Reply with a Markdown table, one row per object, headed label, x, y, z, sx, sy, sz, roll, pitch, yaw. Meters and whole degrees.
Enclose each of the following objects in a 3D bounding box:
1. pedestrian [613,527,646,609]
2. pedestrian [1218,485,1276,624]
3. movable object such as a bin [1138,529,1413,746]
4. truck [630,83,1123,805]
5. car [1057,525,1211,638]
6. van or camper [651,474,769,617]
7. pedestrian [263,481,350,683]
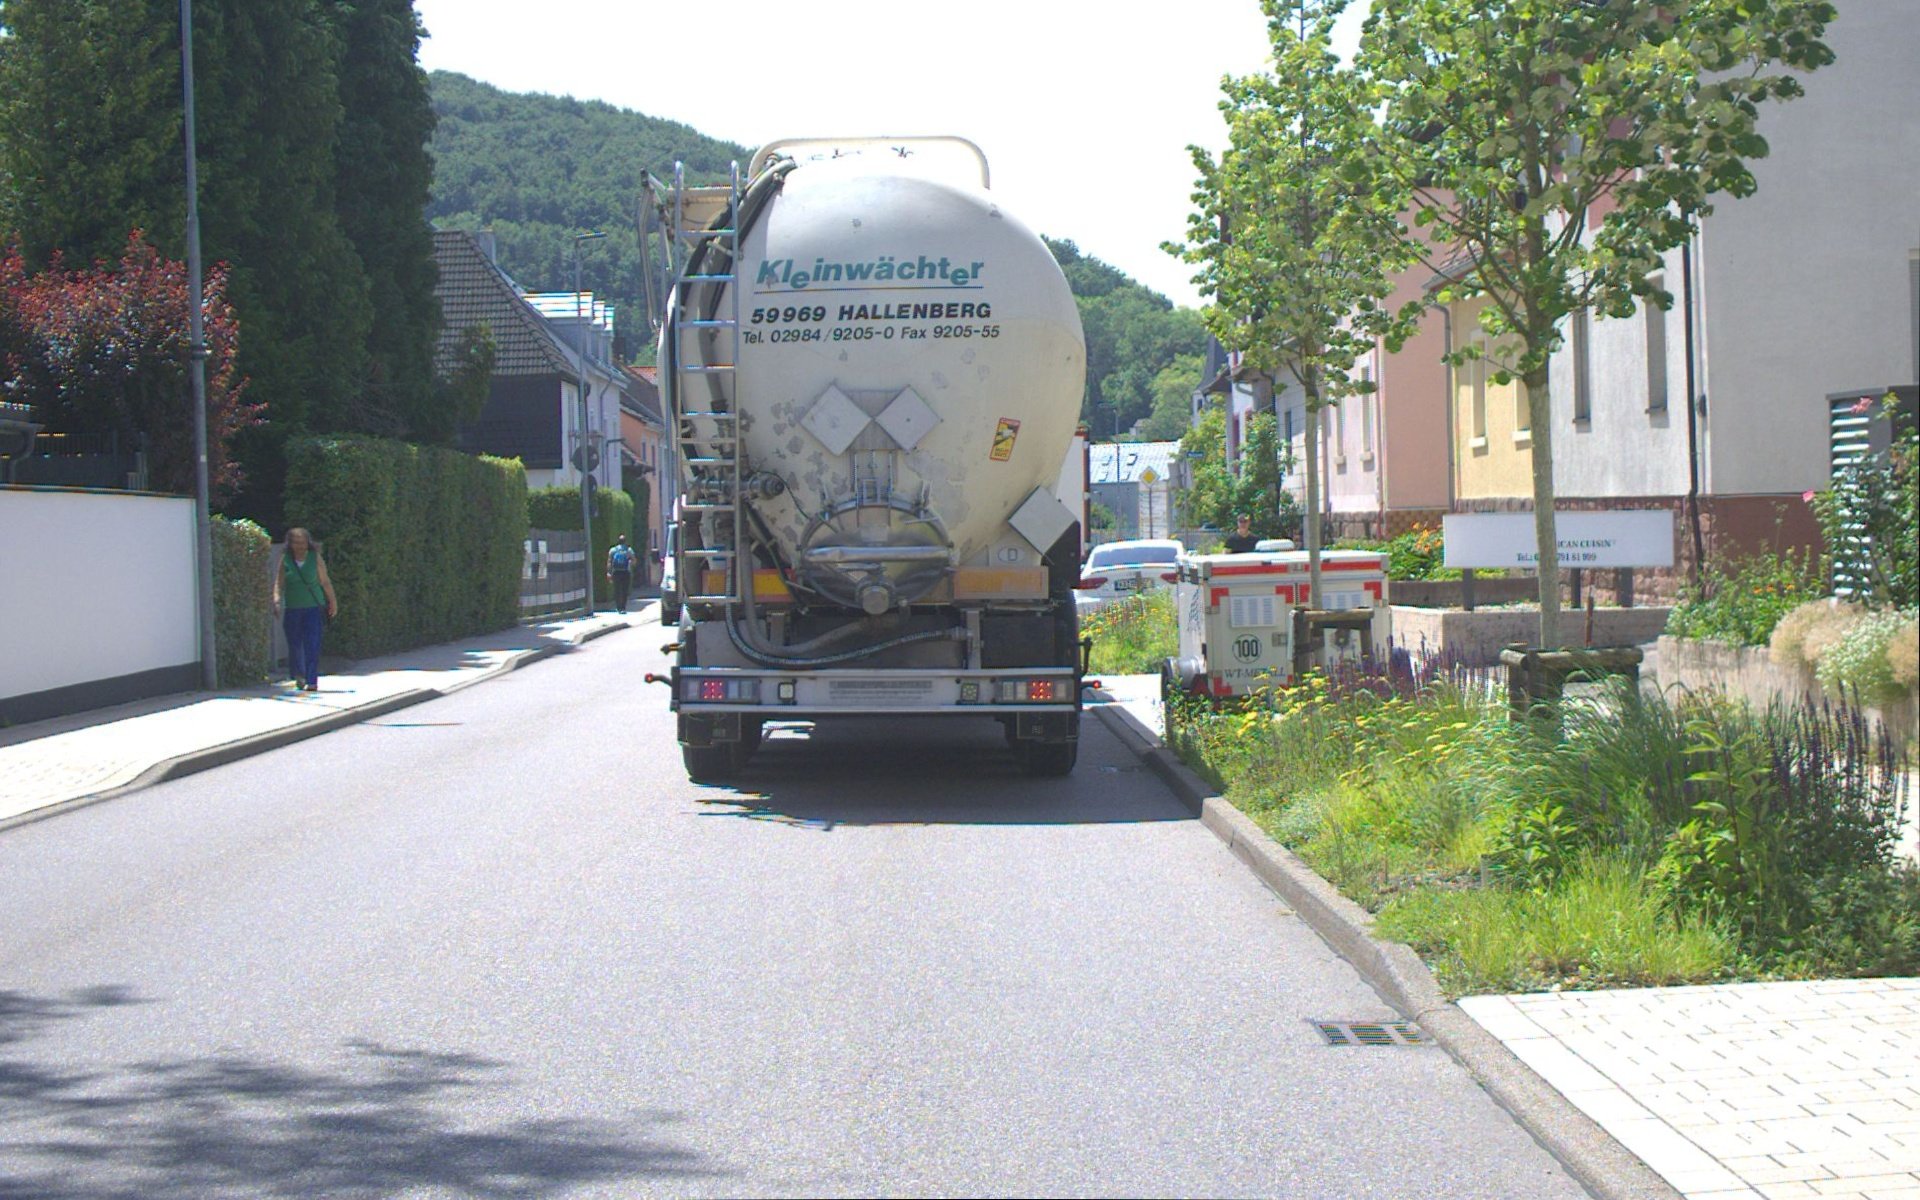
| label | x | y | z | sx | sy | sz | roll | pitch | yaw |
| --- | --- | --- | --- | --- | --- | --- | --- | --- | --- |
| pedestrian | -7.328 | -0.706 | 76.230 | 0.712 | 1.817 | 0.898 | 1 | 0 | -4 |
| pedestrian | 4.204 | -0.656 | 50.395 | 0.746 | 2.007 | 1.033 | 1 | 0 | 0 |
| movable object such as a bin | 2.198 | 0.252 | 24.581 | 1.571 | 1.412 | 3.042 | -2 | 0 | -1 |
| truck | -0.598 | -0.965 | 24.732 | 2.750 | 4.043 | 10.890 | 0 | 1 | -1 |
| car | 2.380 | -0.227 | 47.987 | 1.756 | 1.413 | 4.633 | -3 | 0 | -1 |
| van or camper | -4.916 | -1.035 | 68.339 | 2.037 | 2.704 | 5.824 | 1 | 0 | -1 |
| pedestrian | -6.562 | -0.177 | 34.553 | 0.720 | 2.007 | 0.804 | 1 | 0 | -2 |
